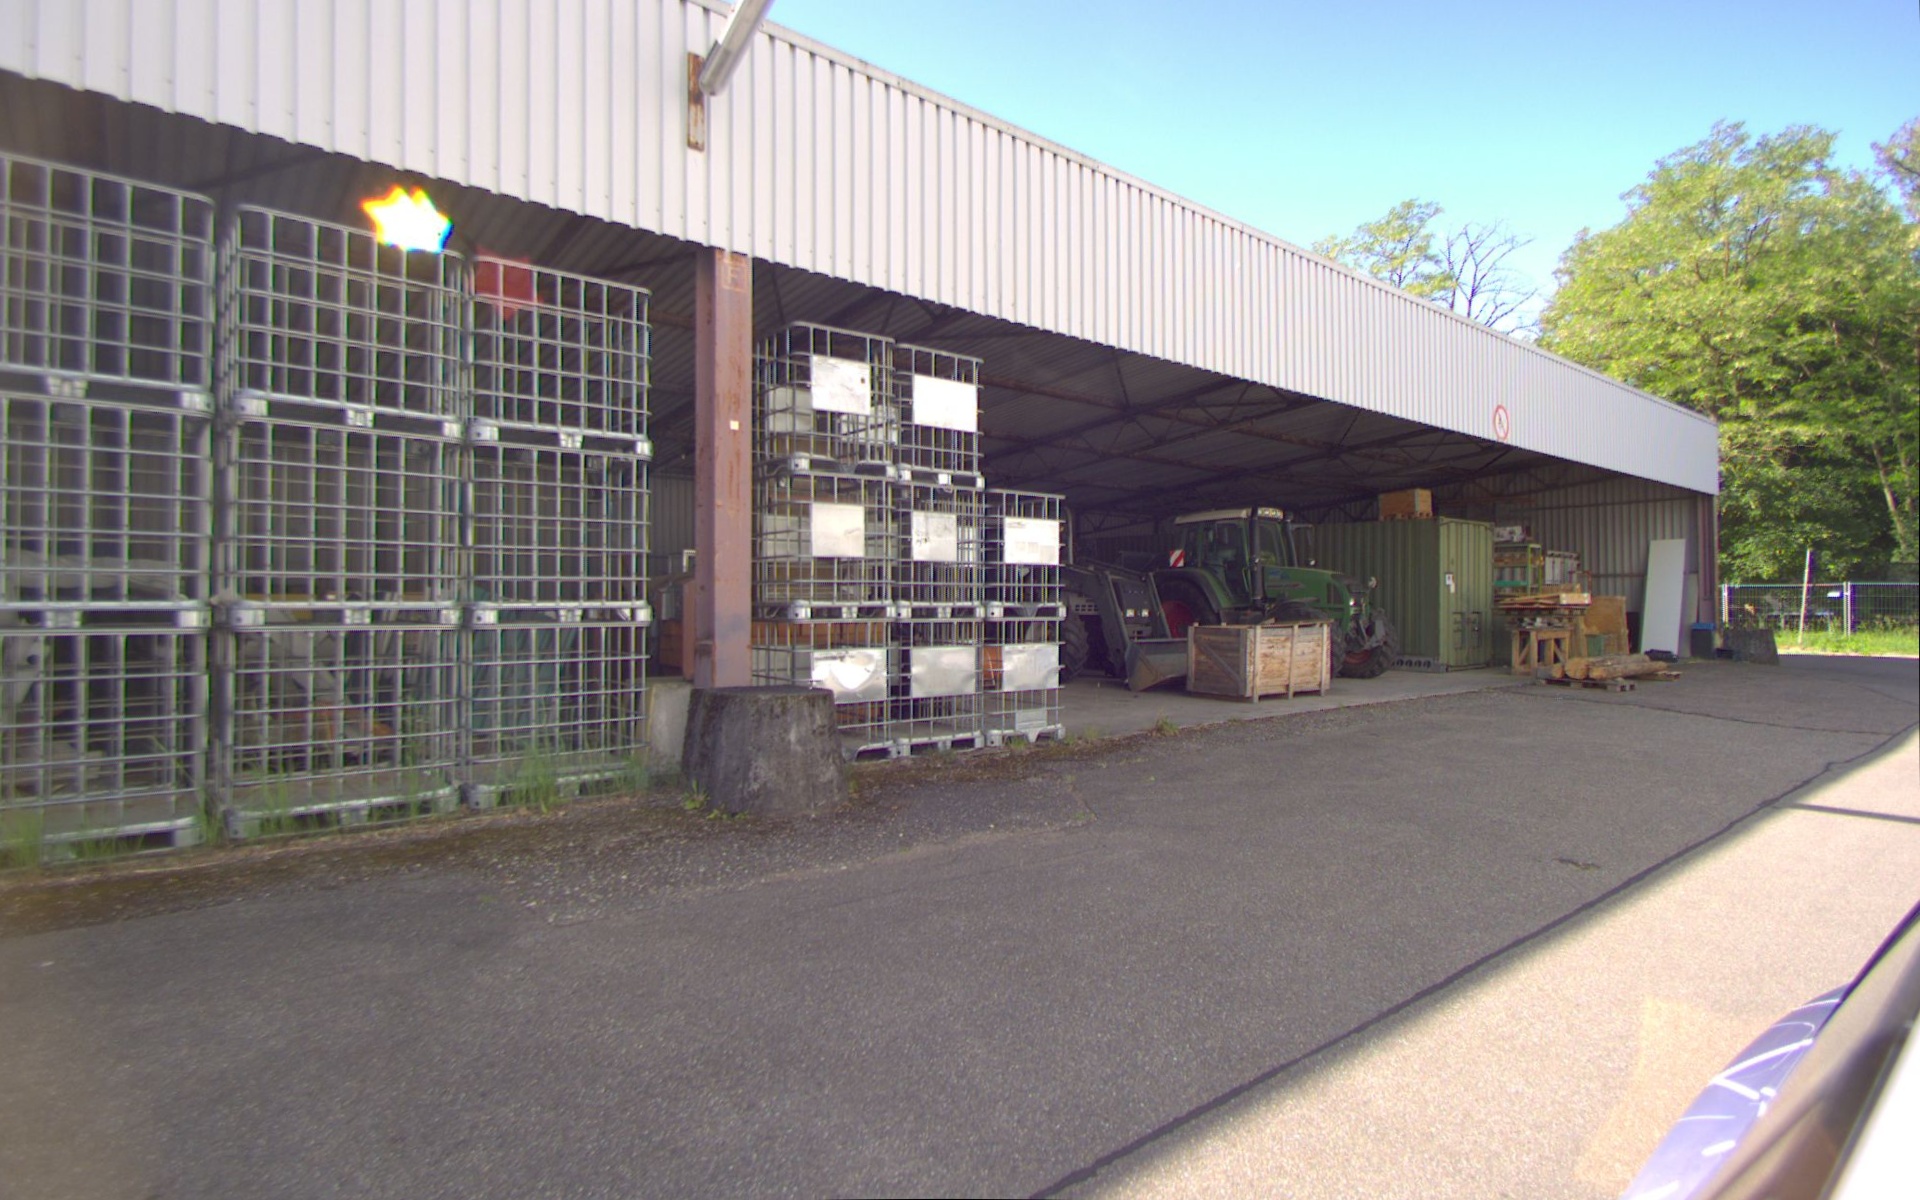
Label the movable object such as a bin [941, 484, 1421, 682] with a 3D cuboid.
[{"bbox_3d":[3.675,-0.217,19.693,3.153,2.947,9.213,0,-1,-38],"label":"movable object such as a bin"}]

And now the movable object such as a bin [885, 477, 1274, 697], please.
[{"bbox_3d":[1.711,-0.149,16.964,2.962,2.947,6.199,0,-1,-39],"label":"movable object such as a bin"}]
